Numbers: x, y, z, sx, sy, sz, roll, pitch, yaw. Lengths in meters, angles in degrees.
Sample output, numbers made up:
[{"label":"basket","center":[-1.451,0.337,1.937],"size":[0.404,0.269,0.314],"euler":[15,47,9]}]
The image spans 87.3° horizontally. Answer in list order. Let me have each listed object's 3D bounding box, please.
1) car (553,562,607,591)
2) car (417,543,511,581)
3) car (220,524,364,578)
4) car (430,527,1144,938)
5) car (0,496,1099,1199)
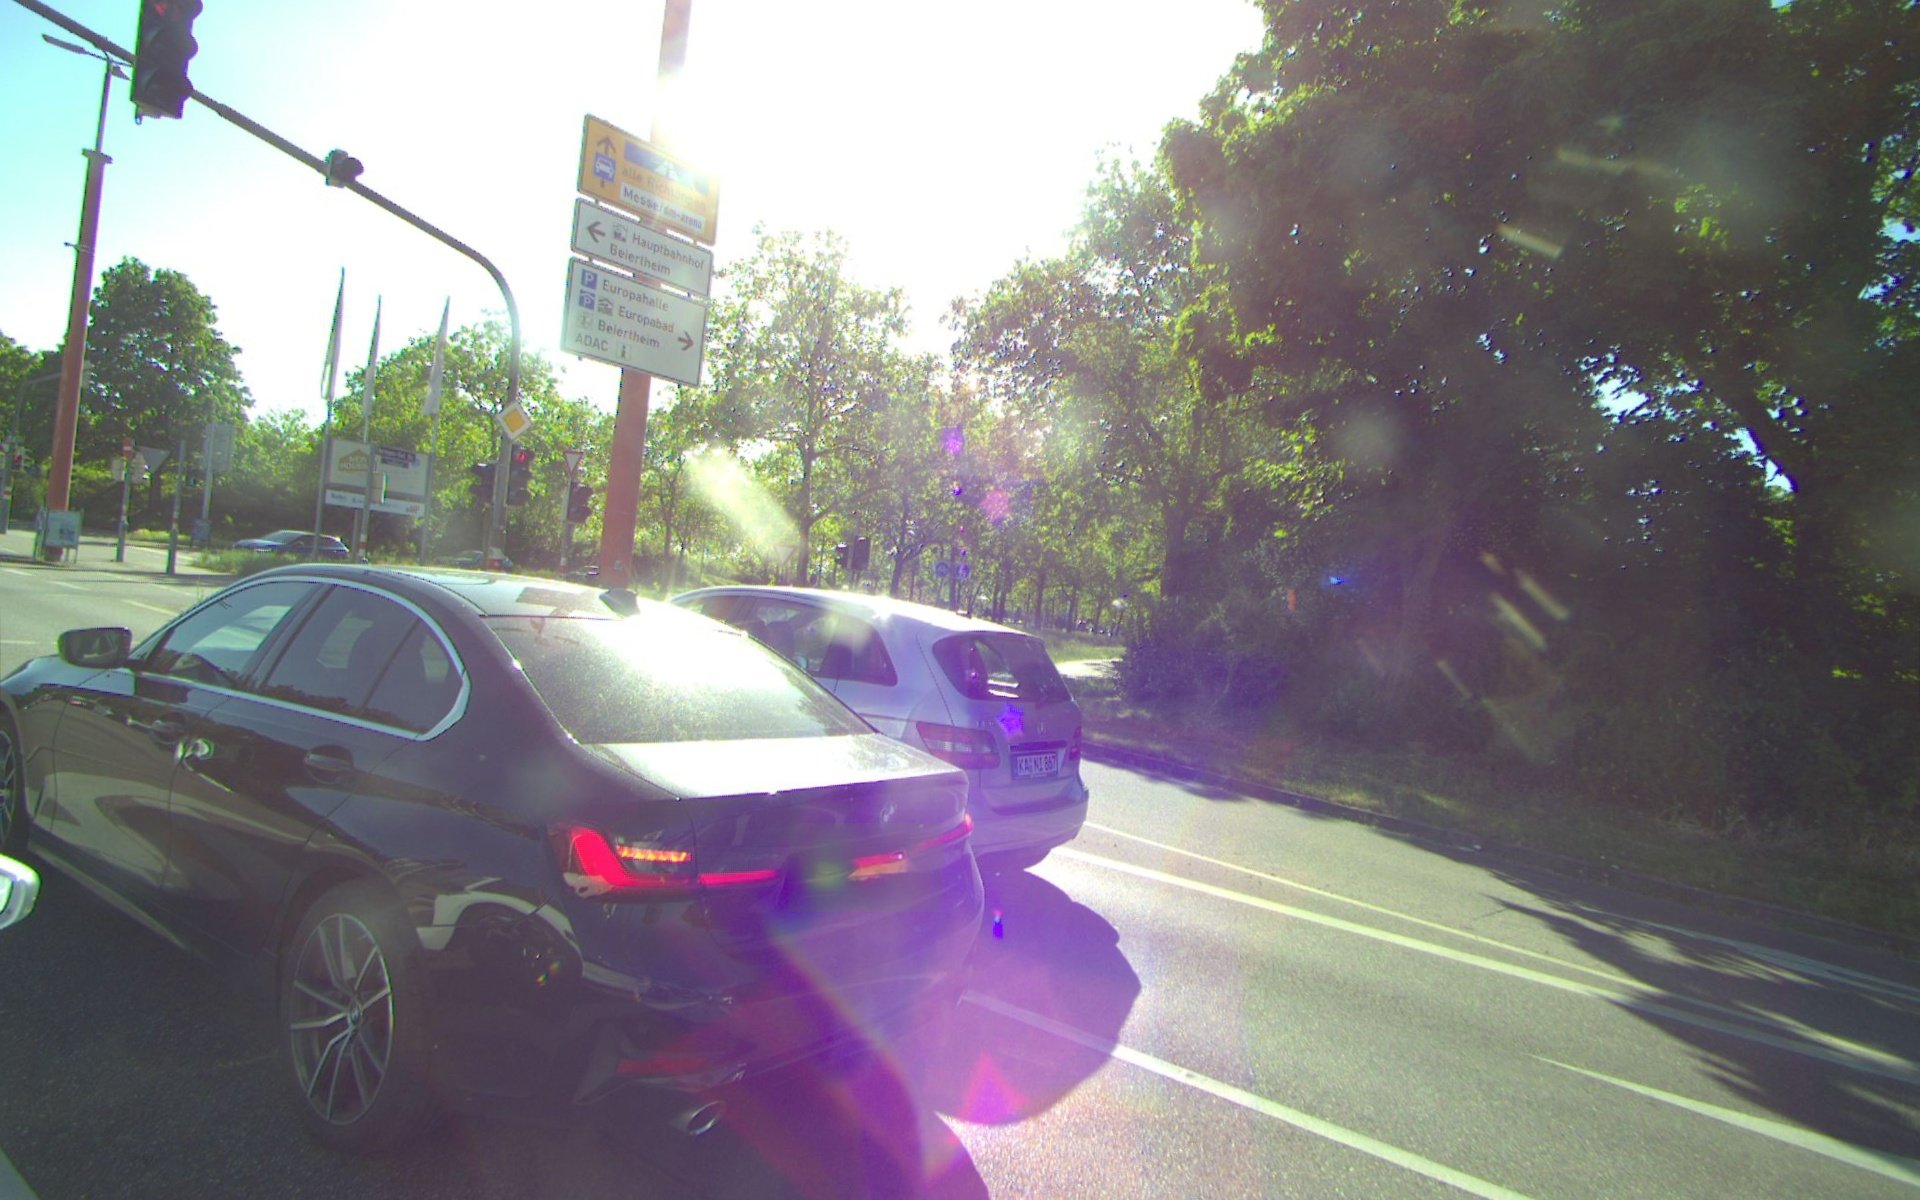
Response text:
[{"label":"car","center":[-26.384,-1.593,70.057],"size":[2.127,1.592,4.279],"euler":[7,-1,-2]},{"label":"car","center":[-29.005,-2.212,59.000],"size":[2.126,1.592,4.582],"euler":[7,-1,21]},{"label":"car","center":[-25.086,-1.812,37.982],"size":[1.848,1.445,4.283],"euler":[7,-1,14]},{"label":"car","center":[-1.279,0.639,6.789],"size":[4.403,1.706,1.970],"euler":[7,-1,32]},{"label":"car","center":[-1.957,0.528,3.881],"size":[4.403,1.411,1.996],"euler":[7,0,32]}]
